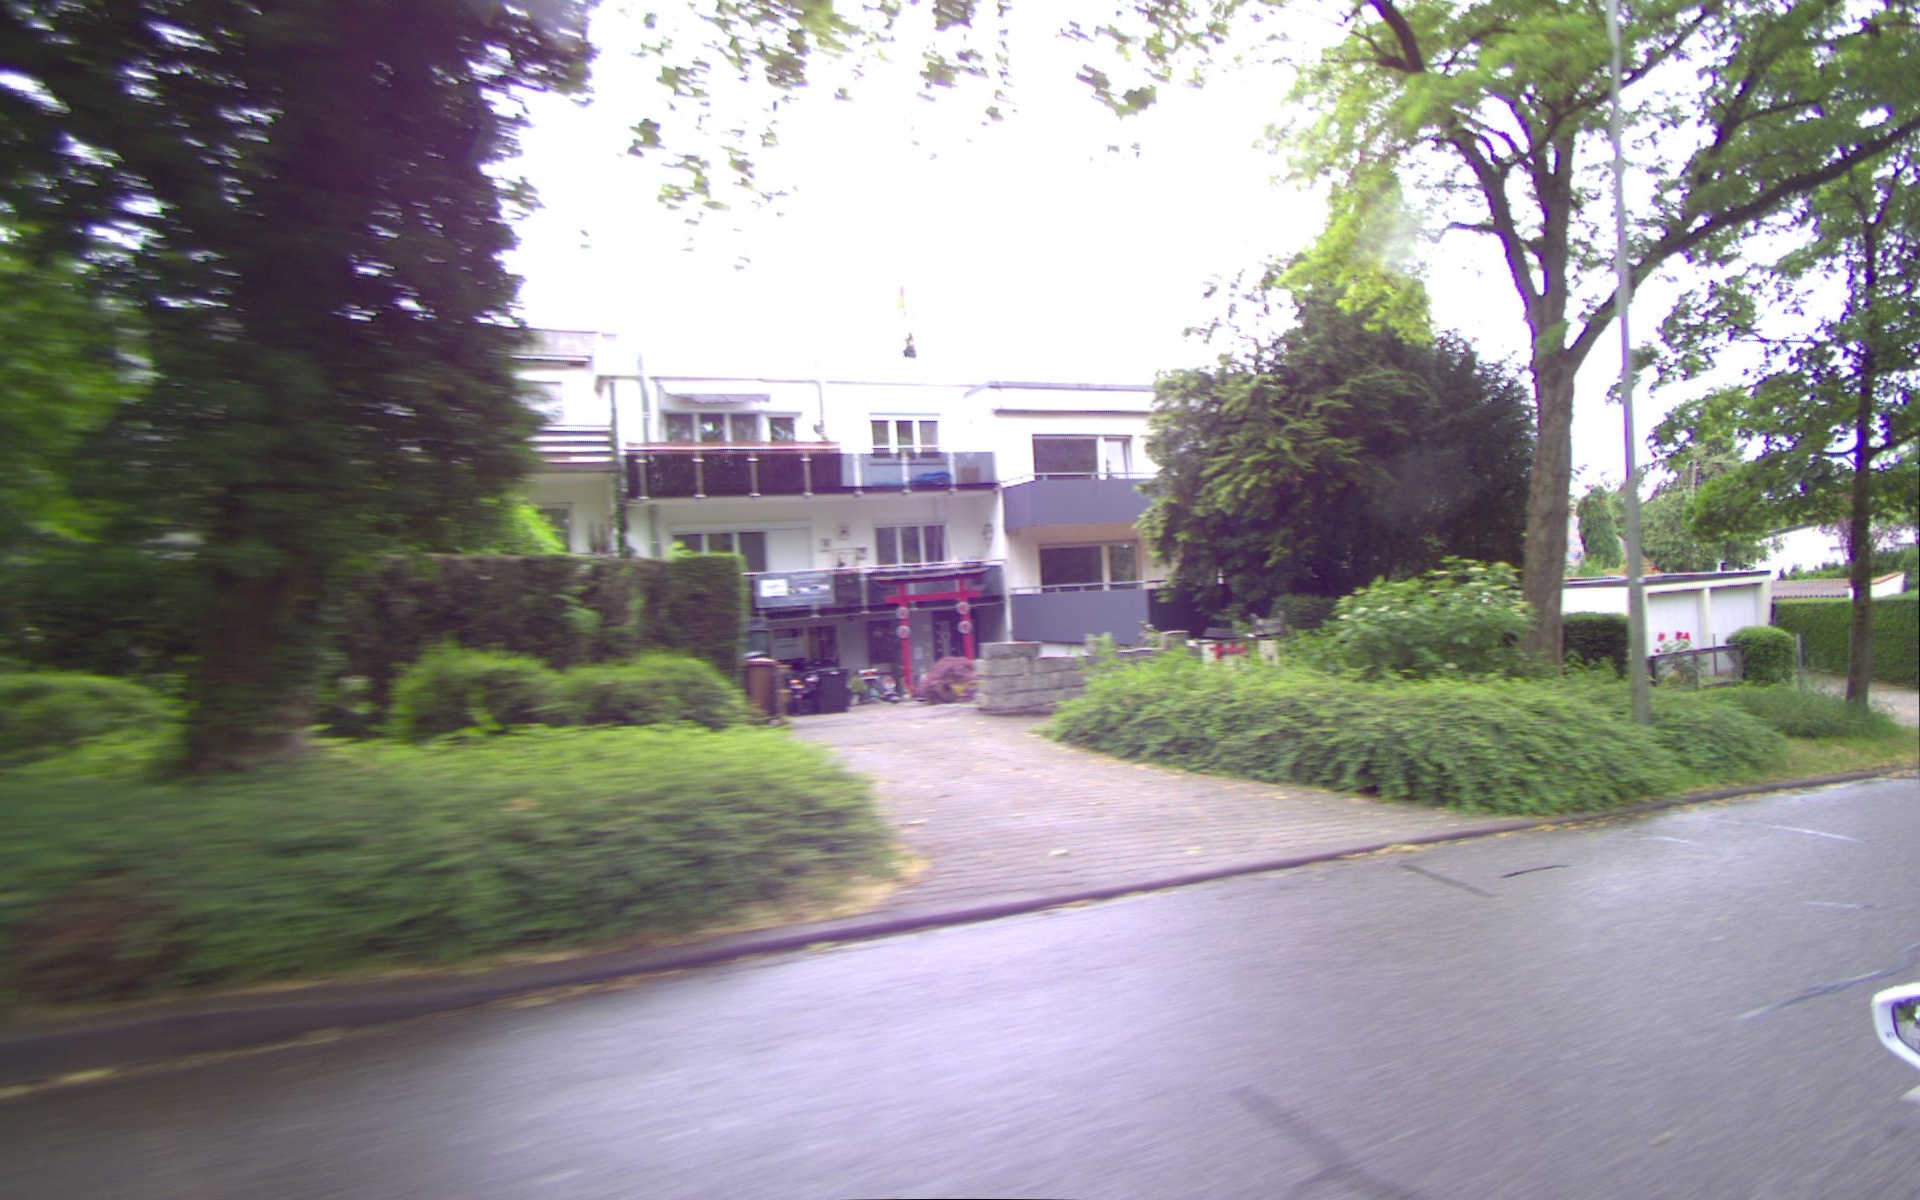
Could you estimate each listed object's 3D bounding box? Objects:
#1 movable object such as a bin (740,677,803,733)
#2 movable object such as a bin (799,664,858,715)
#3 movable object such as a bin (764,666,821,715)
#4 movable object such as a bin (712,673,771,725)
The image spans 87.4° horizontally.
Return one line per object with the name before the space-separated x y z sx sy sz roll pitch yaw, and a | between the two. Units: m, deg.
movable object such as a bin | -3.287 1.817 17.500 0.906 0.881 0.723 1 -1 -28
movable object such as a bin | -2.468 1.669 18.895 0.906 0.881 0.723 1 -1 -28
movable object such as a bin | -3.252 1.745 19.494 0.906 0.881 0.723 1 -1 -28
movable object such as a bin | -4.095 1.832 18.795 0.906 0.881 0.723 1 -1 -28
